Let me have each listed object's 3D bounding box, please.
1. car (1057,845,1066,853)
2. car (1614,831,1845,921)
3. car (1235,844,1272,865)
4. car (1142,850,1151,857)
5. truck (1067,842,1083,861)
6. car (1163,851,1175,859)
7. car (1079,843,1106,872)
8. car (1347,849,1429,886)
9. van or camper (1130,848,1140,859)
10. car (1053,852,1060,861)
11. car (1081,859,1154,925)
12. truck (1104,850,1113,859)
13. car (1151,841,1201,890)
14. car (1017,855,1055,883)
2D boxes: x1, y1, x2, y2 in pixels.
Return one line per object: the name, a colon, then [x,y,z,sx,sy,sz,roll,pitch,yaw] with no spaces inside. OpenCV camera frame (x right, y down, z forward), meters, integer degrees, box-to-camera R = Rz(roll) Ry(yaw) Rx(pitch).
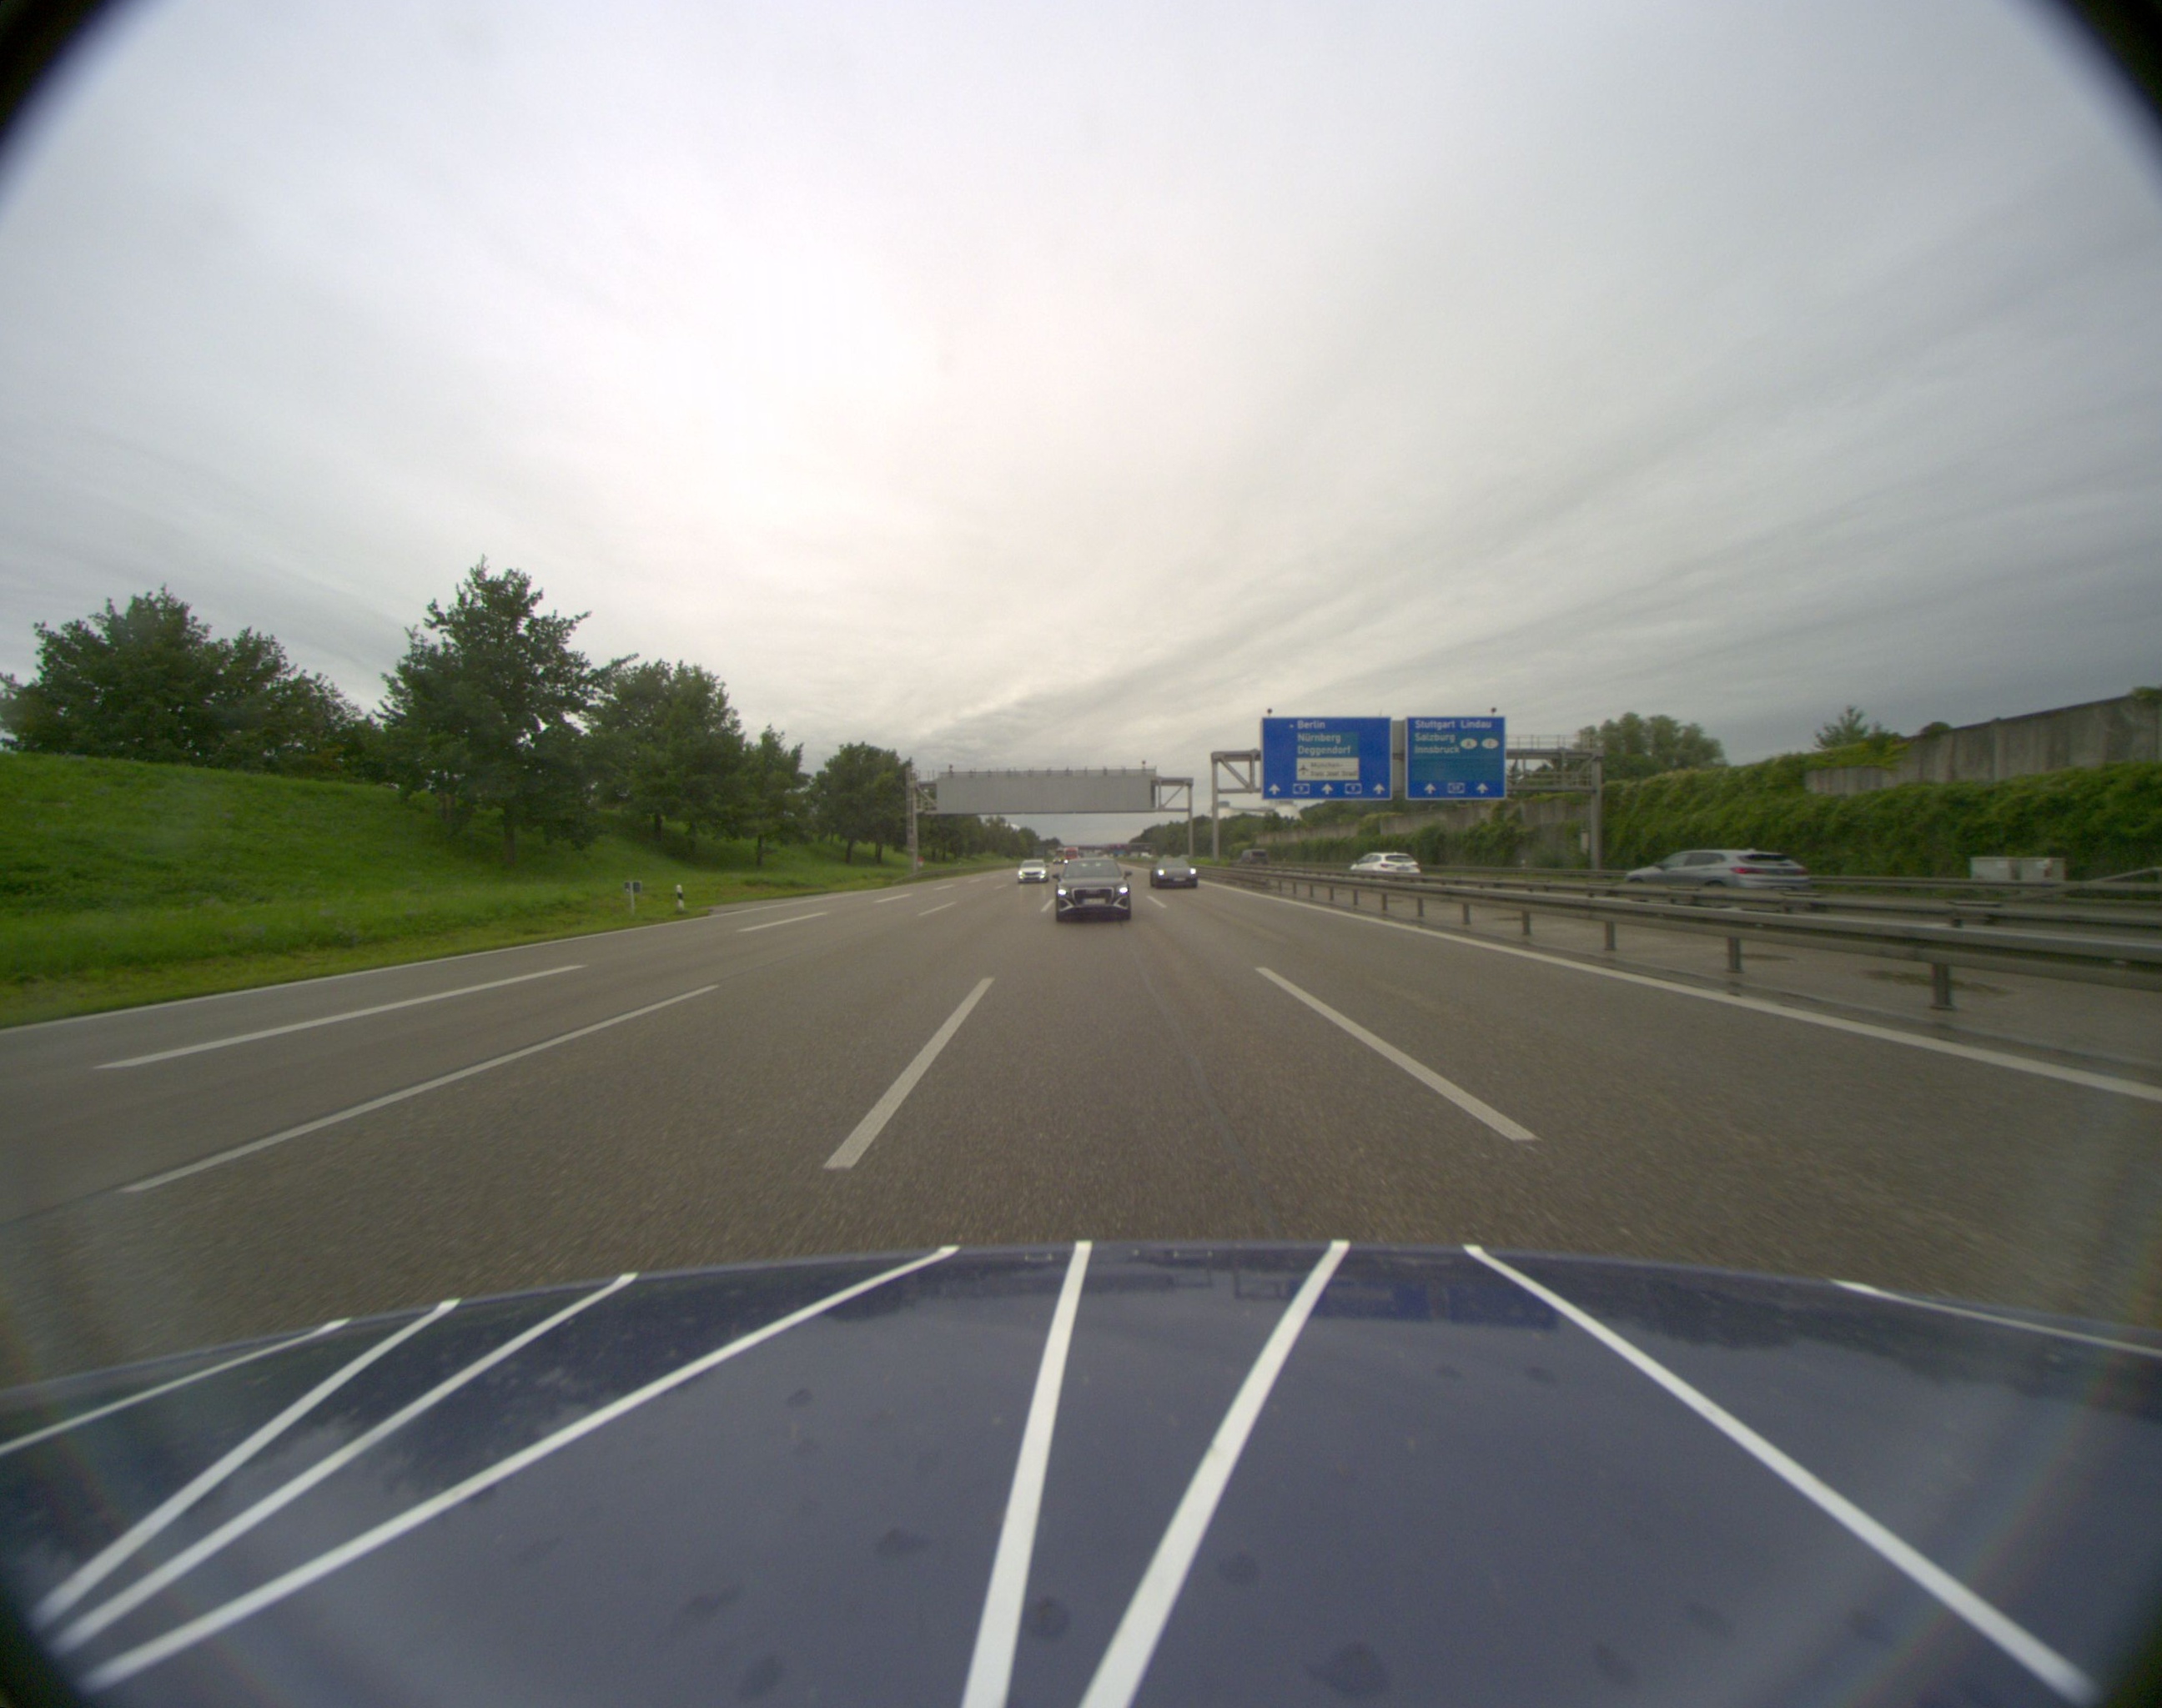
car: [-5.005,-1.273,197.398,1.998,2.002,4.000,-2,1,1]
car: [16.561,0.484,19.822,1.937,2.002,4.731,-2,1,-1]
car: [17.105,0.040,75.749,2.214,1.960,6.270,-2,1,1]
car: [19.348,-0.124,223.375,2.132,1.901,6.533,-2,1,1]
truck: [-1.144,-0.480,152.261,2.836,3.634,10.670,-2,1,1]
car: [18.536,0.268,160.726,1.998,1.445,4.935,-2,-2,1]
car: [1.193,0.316,77.441,2.459,2.726,8.265,-2,1,1]
car: [13.293,0.542,33.203,1.605,1.398,4.764,3,0,0]
van or camper: [18.681,-0.225,263.097,2.714,3.925,8.401,-2,1,1]
car: [-5.586,0.570,173.414,1.455,2.002,3.677,-2,1,1]
car: [0.839,0.889,19.073,1.616,1.403,3.326,-2,1,0]
truck: [6.220,0.105,171.271,1.998,2.002,4.000,-2,0,1]
car: [4.222,0.470,34.152,1.725,2.002,3.851,-2,1,1]
car: [-2.829,0.907,48.465,1.998,1.555,4.910,-3,0,1]
